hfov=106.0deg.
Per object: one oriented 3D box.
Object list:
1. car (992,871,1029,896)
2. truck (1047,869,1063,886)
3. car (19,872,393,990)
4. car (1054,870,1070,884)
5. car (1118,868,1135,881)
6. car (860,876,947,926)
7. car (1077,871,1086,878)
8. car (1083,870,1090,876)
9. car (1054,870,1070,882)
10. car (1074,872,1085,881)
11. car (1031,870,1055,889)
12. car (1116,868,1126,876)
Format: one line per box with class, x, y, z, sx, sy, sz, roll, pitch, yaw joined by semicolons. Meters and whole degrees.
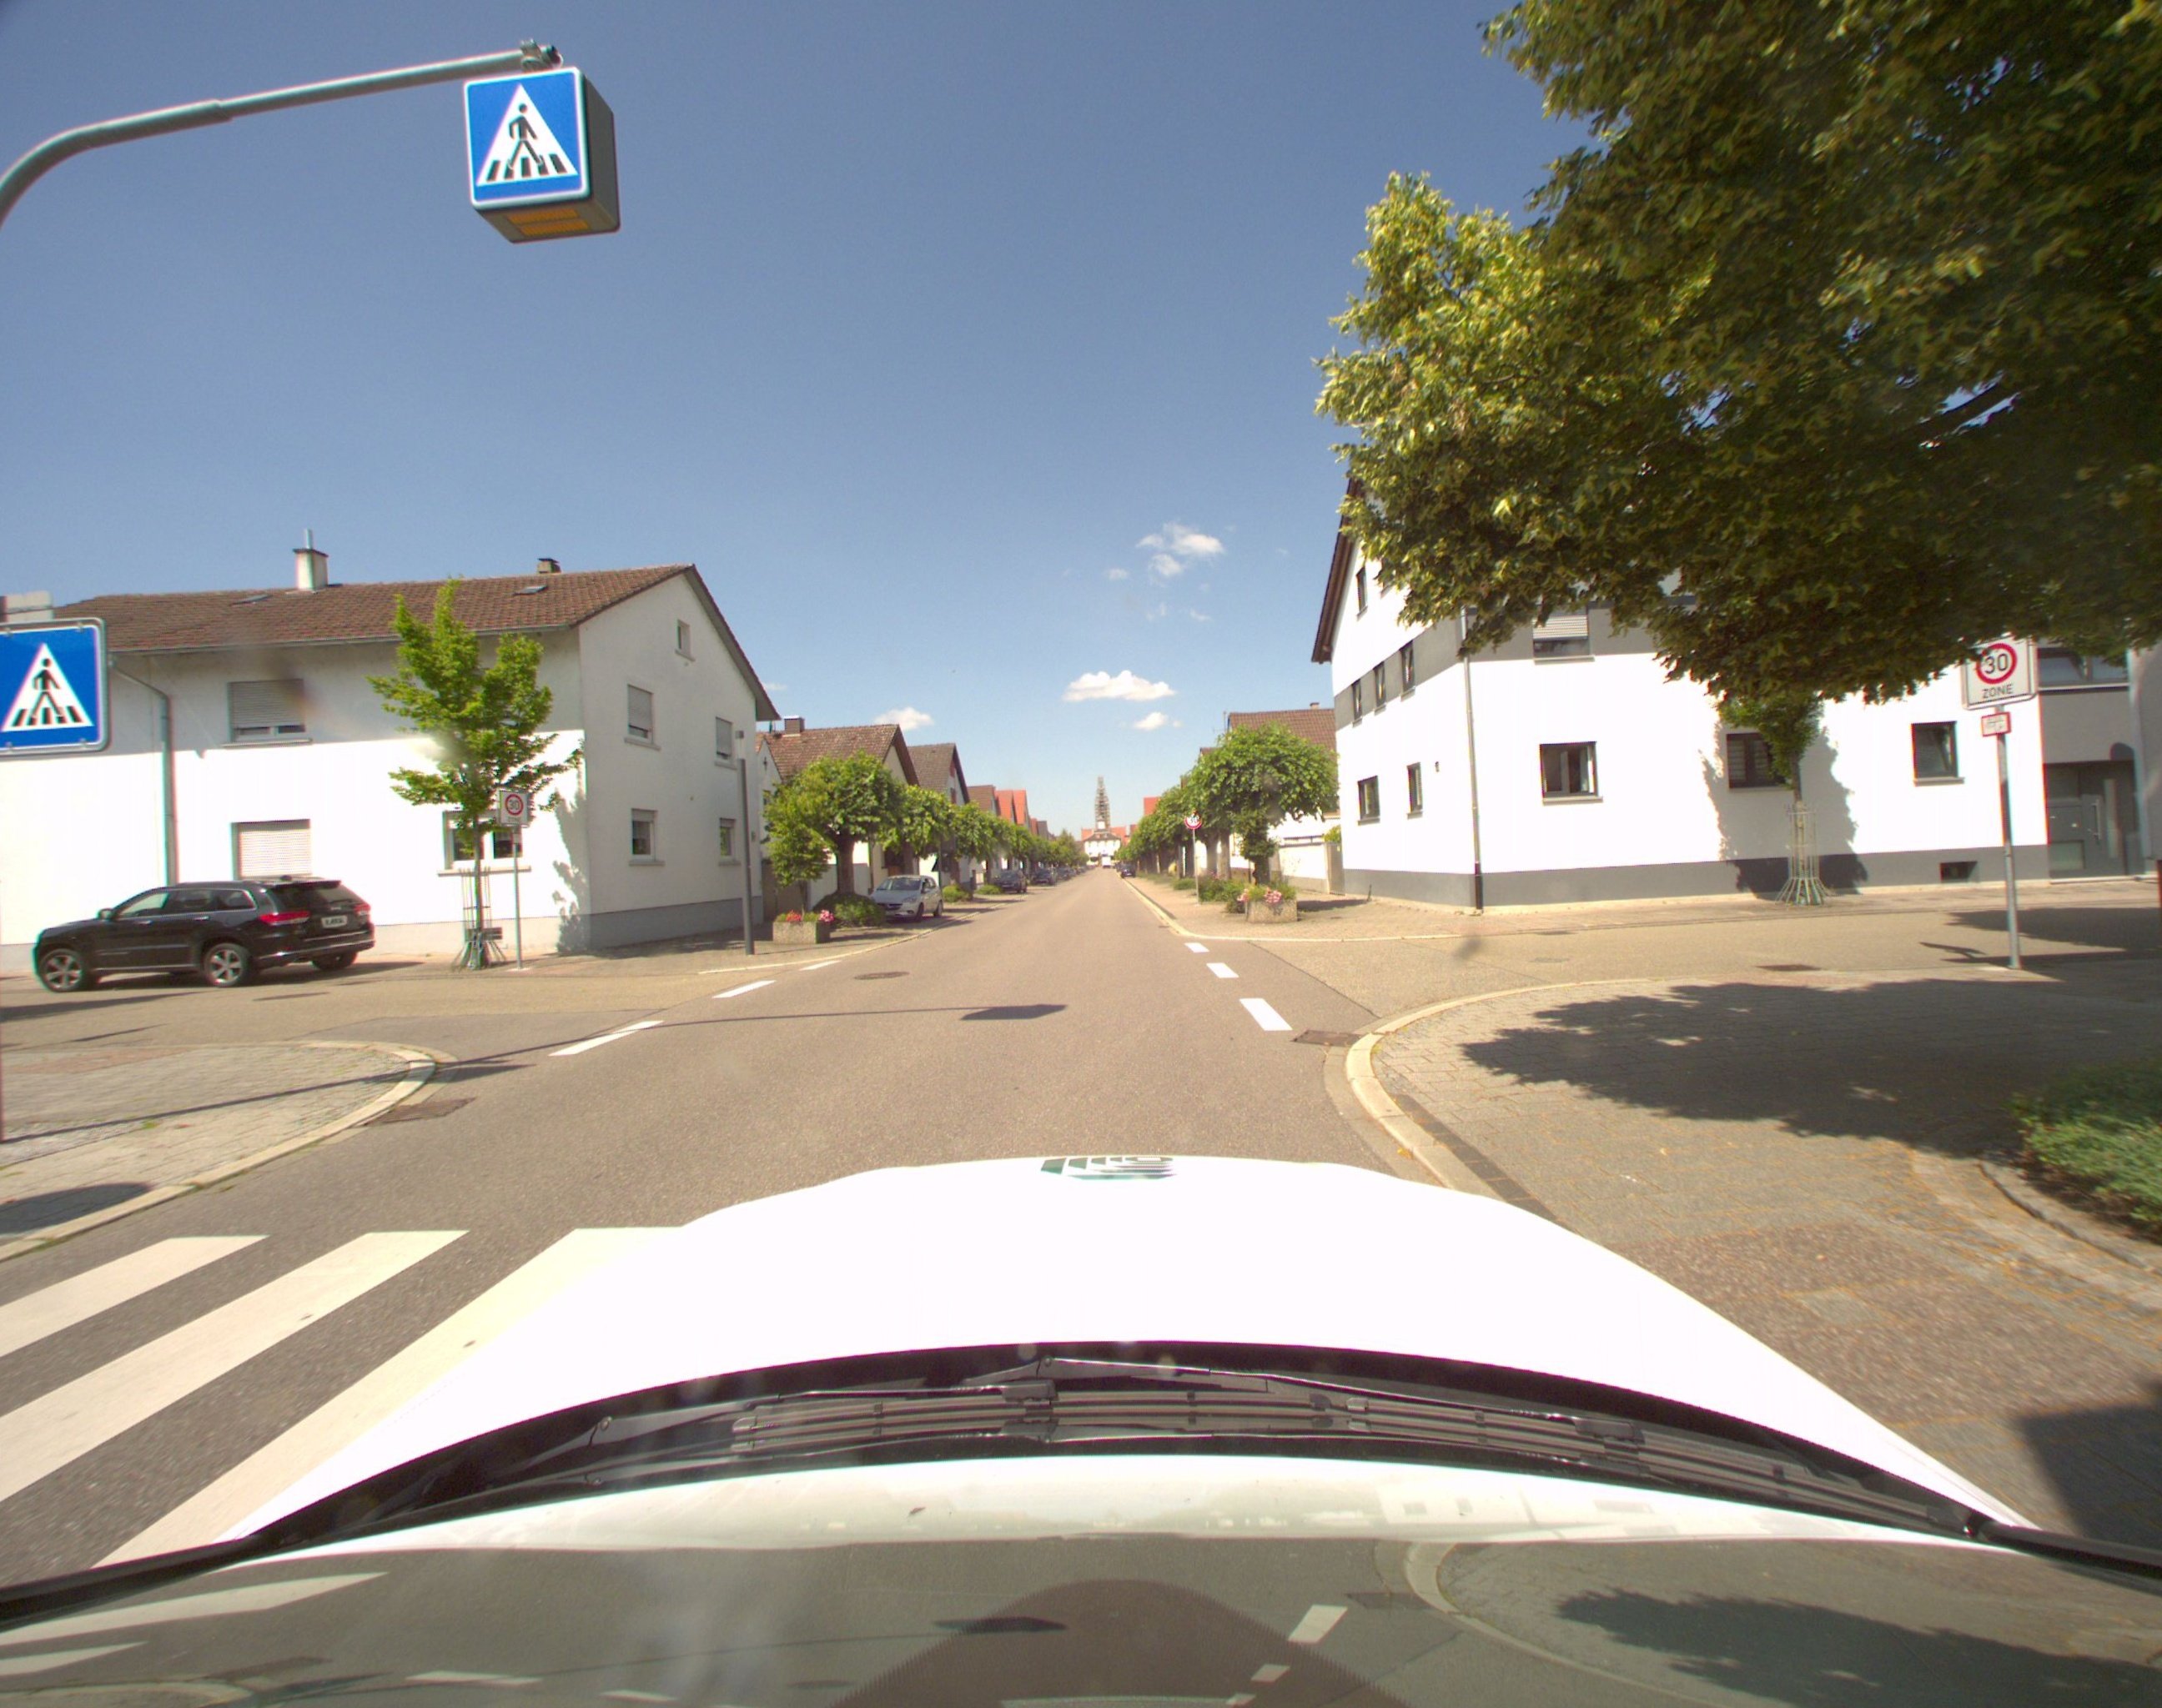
car;-4.677;1.968;54.729;1.845;1.613;4.138;-1;-1;4
truck;-2.915;2.636;91.338;1.570;1.765;4.193;-1;-1;2
car;-15.206;1.296;14.362;4.407;1.715;2.001;-2;0;2
car;-2.366;2.763;99.997;1.782;1.634;3.994;-2;-1;-4
car;5.555;2.535;100.190;1.817;1.432;4.058;-5;-1;2
car;-5.741;1.489;26.878;1.818;1.483;4.134;-1;-1;2
car;0.130;4.602;184.112;1.985;1.611;4.692;0;0;3
car;1.470;5.208;226.974;1.751;1.555;4.022;-3;-1;2
car;-2.501;2.903;107.853;1.846;1.635;4.058;-1;-2;2
car;-0.294;4.467;161.952;1.985;1.611;4.692;-1;-1;3
car;-3.447;2.340;74.831;1.846;1.636;4.300;-1;0;2
car;8.304;3.748;169.767;1.831;1.555;4.314;-4;-1;1
